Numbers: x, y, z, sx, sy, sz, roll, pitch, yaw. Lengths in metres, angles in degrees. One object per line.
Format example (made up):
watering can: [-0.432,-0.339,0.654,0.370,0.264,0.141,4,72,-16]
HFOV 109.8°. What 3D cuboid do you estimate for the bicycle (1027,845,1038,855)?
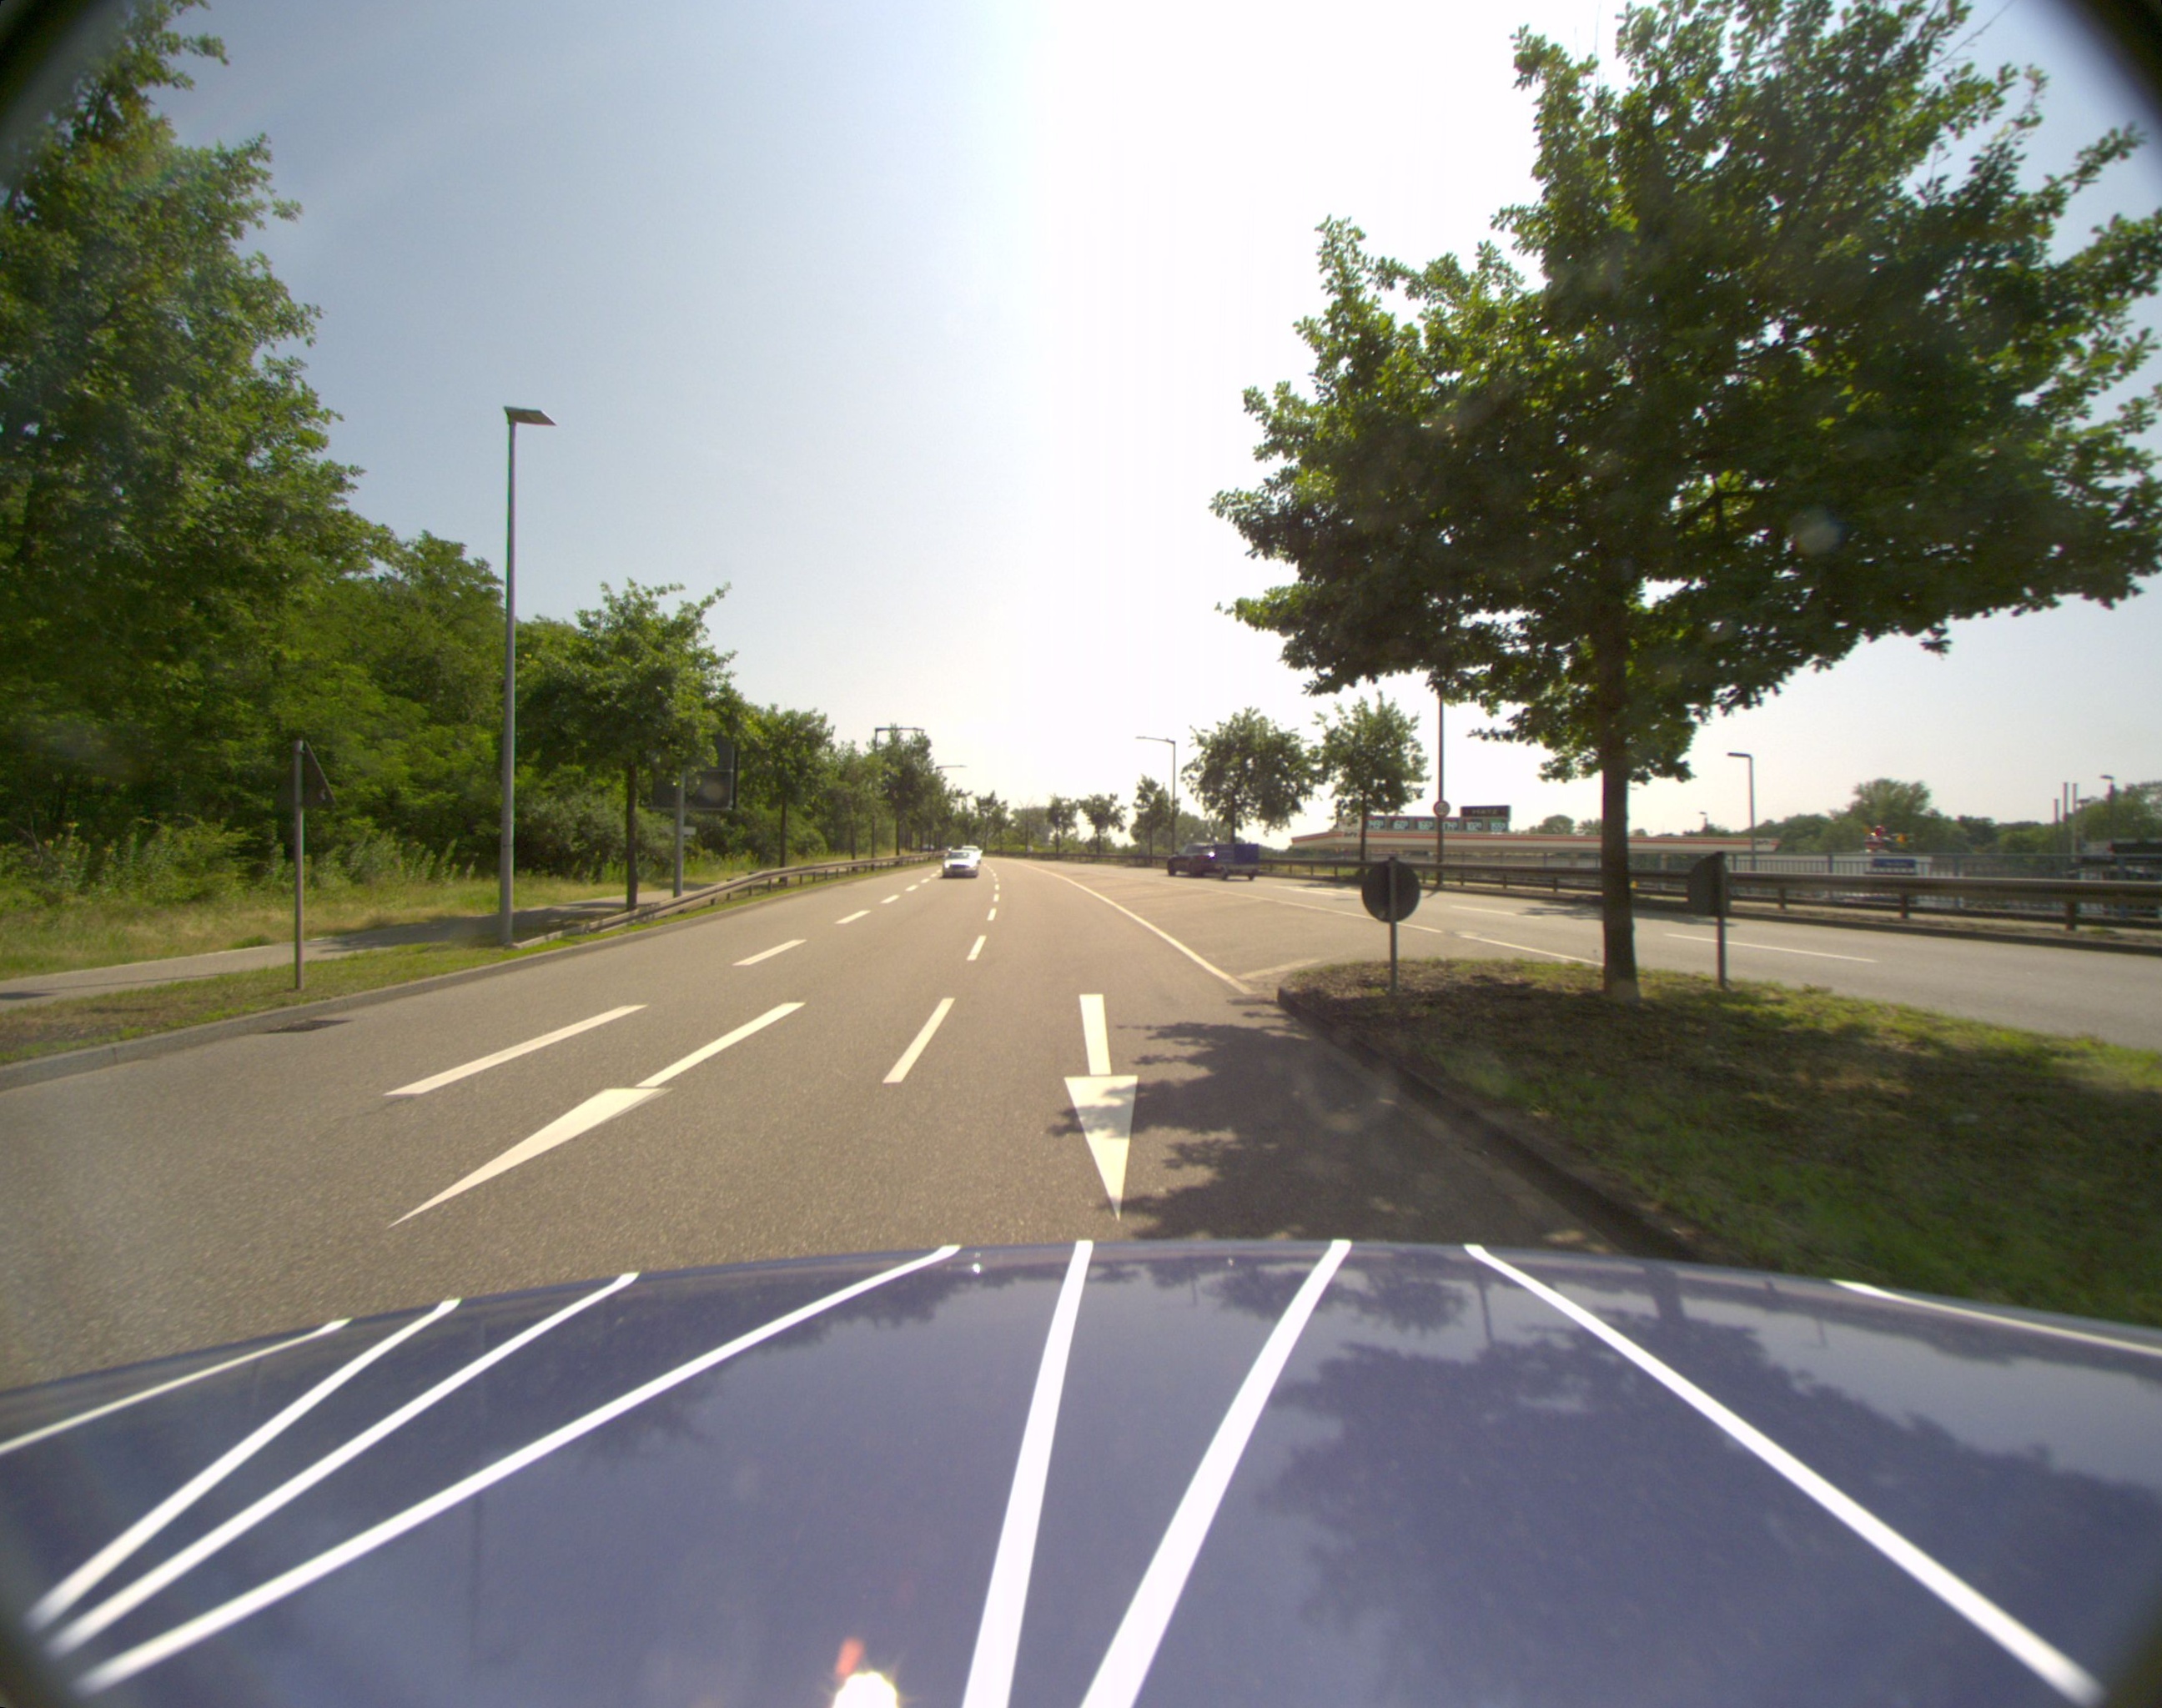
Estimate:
bicycle: [-6.118,-0.544,95.533,0.737,1.110,2.042,4,1,-20]

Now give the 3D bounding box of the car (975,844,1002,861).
car: [-7.783,-0.109,63.914,2.000,1.361,4.229,-1,0,-10]

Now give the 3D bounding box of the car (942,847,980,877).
car: [-6.210,0.387,39.746,1.764,1.490,4.231,-1,0,-6]

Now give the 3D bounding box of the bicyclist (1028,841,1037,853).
bicyclist: [-6.088,-0.849,95.485,0.732,1.457,0.822,4,1,-20]

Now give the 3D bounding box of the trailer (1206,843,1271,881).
trailer: [7.030,0.323,34.202,1.511,1.606,3.303,-1,1,-16]

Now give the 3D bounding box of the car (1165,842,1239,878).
car: [5.953,0.256,37.924,1.922,1.642,4.401,-2,1,-16]
